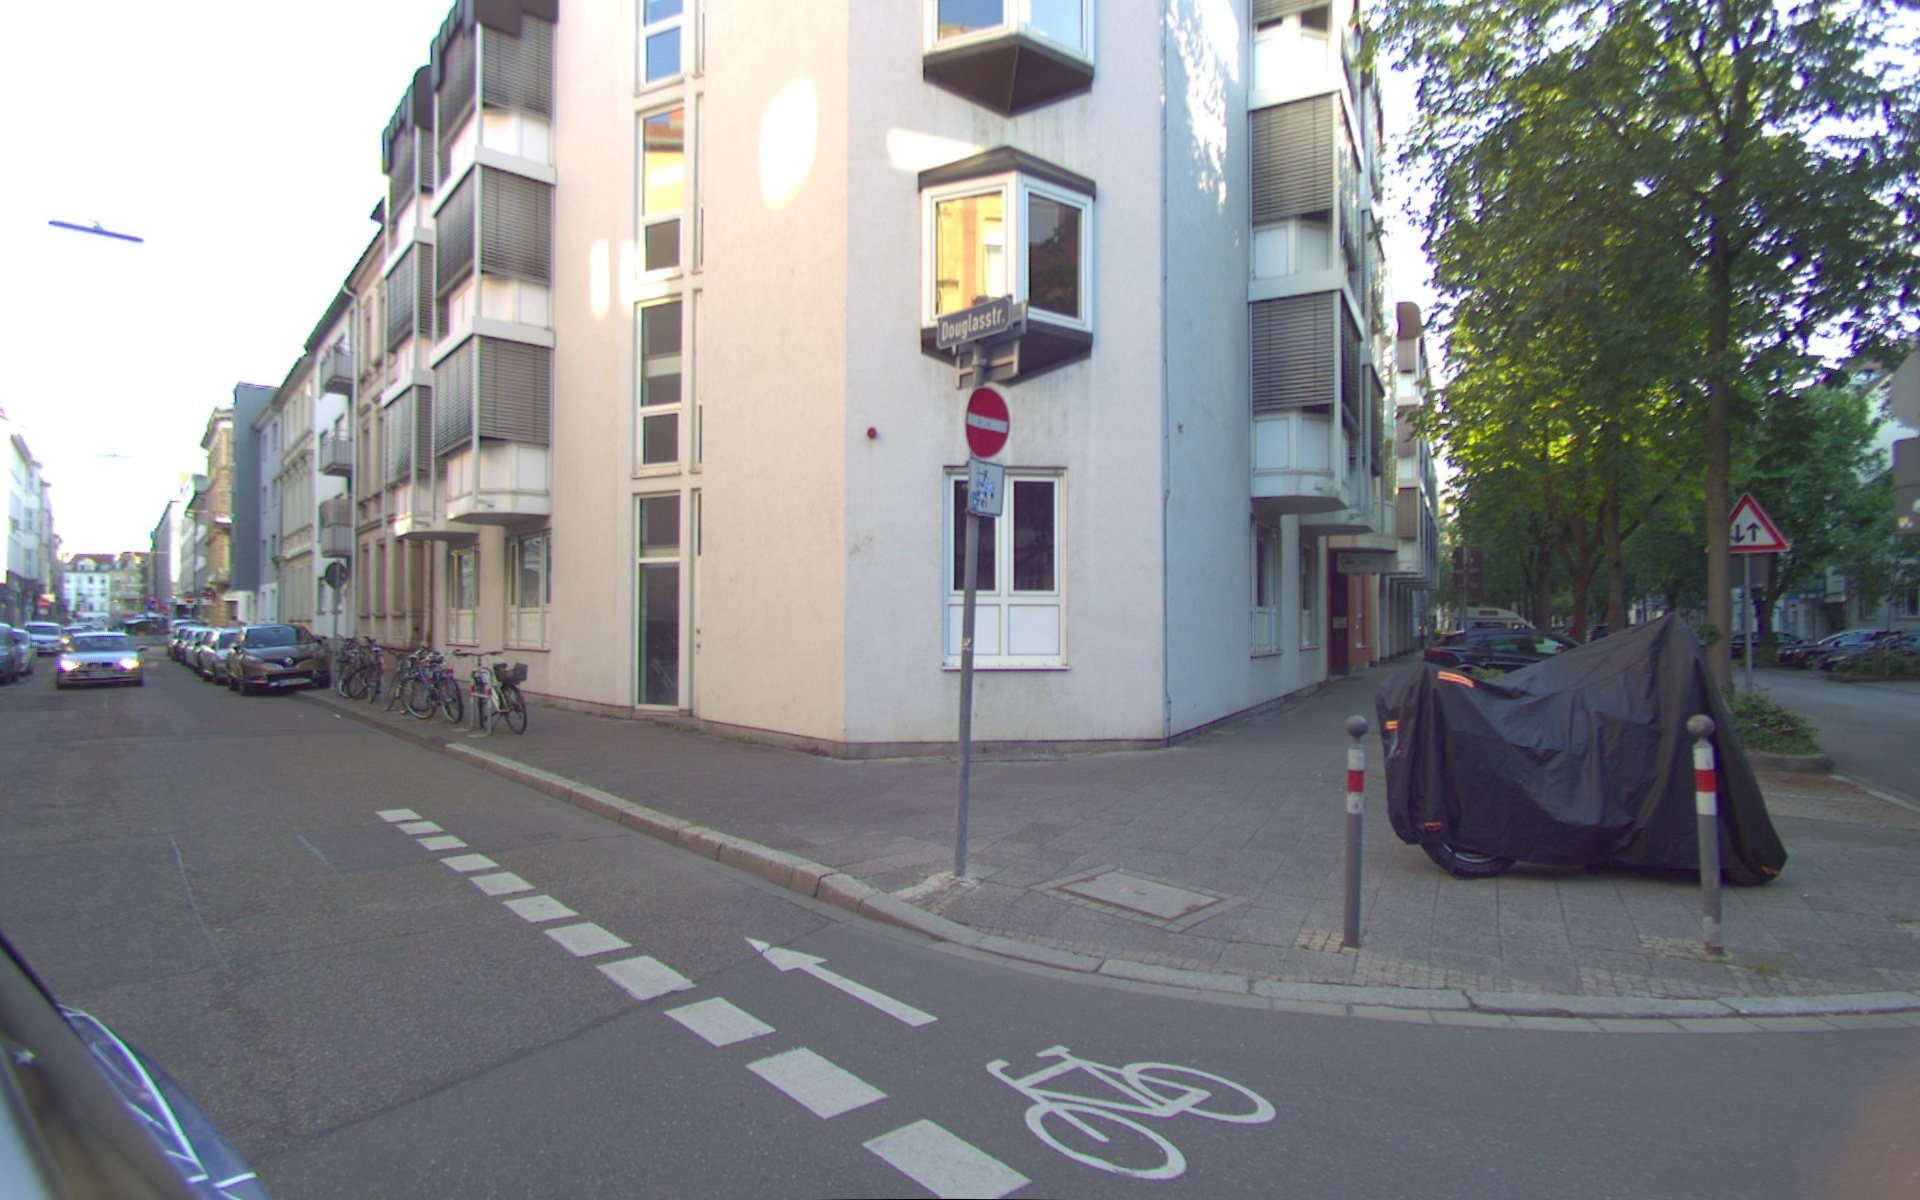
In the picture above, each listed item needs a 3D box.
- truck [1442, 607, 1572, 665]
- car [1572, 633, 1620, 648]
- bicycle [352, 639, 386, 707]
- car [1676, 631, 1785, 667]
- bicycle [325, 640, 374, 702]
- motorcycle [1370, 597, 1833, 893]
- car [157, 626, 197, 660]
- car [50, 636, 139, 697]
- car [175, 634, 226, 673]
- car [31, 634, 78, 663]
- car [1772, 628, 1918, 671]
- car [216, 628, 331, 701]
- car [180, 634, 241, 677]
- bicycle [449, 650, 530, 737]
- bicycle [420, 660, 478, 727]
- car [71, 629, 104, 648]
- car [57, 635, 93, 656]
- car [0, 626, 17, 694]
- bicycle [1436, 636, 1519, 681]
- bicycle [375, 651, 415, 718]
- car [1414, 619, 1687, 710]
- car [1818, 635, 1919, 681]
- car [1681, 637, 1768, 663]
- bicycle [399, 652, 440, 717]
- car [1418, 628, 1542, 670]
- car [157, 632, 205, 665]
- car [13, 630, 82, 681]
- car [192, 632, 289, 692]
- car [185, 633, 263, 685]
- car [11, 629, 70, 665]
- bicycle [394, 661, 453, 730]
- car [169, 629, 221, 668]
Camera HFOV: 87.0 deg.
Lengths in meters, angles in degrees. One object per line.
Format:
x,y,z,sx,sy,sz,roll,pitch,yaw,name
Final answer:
24.386,1.555,45.269,4.995,2.459,1.897,0,0,29,truck
60.732,3.888,96.708,3.649,1.403,1.552,-2,-2,26,car
-11.309,1.366,19.347,0.303,1.232,1.816,0,-2,-39,bicycle
35.572,2.257,46.835,3.649,1.548,1.552,-3,-3,26,car
-12.717,1.451,21.050,0.588,1.196,2.269,0,-2,-39,bicycle
3.603,0.785,5.865,2.137,1.567,0.668,0,-2,8,motorcycle
-43.489,2.386,56.176,1.617,1.810,3.790,1,-2,-40,car
-22.735,1.678,26.684,1.656,1.414,4.479,-1,-1,-40,car
-31.523,2.187,41.979,1.617,1.500,3.962,1,-2,-38,car
-49.952,2.649,55.871,1.703,1.489,3.983,0,-2,-39,car
33.185,1.867,38.059,3.784,1.541,1.552,-2,-2,26,car
-16.468,1.478,24.206,1.769,1.588,4.076,1,-2,-42,car
-28.255,2.054,38.110,1.617,1.500,3.795,1,-2,-40,car
-6.499,1.252,13.939,1.813,1.111,0.396,-2,-2,44,bicycle
-7.844,1.403,15.504,0.303,0.939,1.815,1,-3,-43,bicycle
-66.046,2.892,76.641,1.703,1.409,3.899,1,-2,-39,car
-60.788,3.105,69.551,1.703,1.409,3.899,1,-2,-39,car
-26.680,1.587,27.221,1.668,1.754,4.116,1,-2,-40,car
14.225,1.604,27.843,1.959,1.208,0.499,0,-2,18,bicycle
-9.636,1.409,17.232,0.303,1.050,1.816,0,-2,-39,bicycle
11.151,1.172,19.442,4.350,1.520,1.817,0,-1,28,car
29.916,1.833,32.201,3.649,1.403,1.552,-2,-2,26,car
43.305,2.846,57.410,3.649,1.403,1.552,-2,-2,26,car
-9.353,1.431,17.486,0.303,1.050,1.816,0,-2,-39,bicycle
19.841,1.832,38.724,4.126,1.483,1.624,0,-1,28,car
-39.521,2.449,51.319,1.618,1.592,3.788,1,-2,-42,car
-30.106,1.799,33.460,1.550,1.591,3.595,1,-2,-40,car
-20.399,1.689,28.613,1.769,1.551,4.440,1,-2,-42,car
-24.269,1.883,33.300,1.768,1.551,4.501,1,-2,-40,car
-47.109,2.401,51.902,1.814,1.708,4.366,7,-6,-38,car
-8.116,1.410,15.290,0.303,0.939,1.814,0,-2,-44,bicycle
-35.299,2.203,46.658,1.618,1.724,3.788,1,-2,-42,car
